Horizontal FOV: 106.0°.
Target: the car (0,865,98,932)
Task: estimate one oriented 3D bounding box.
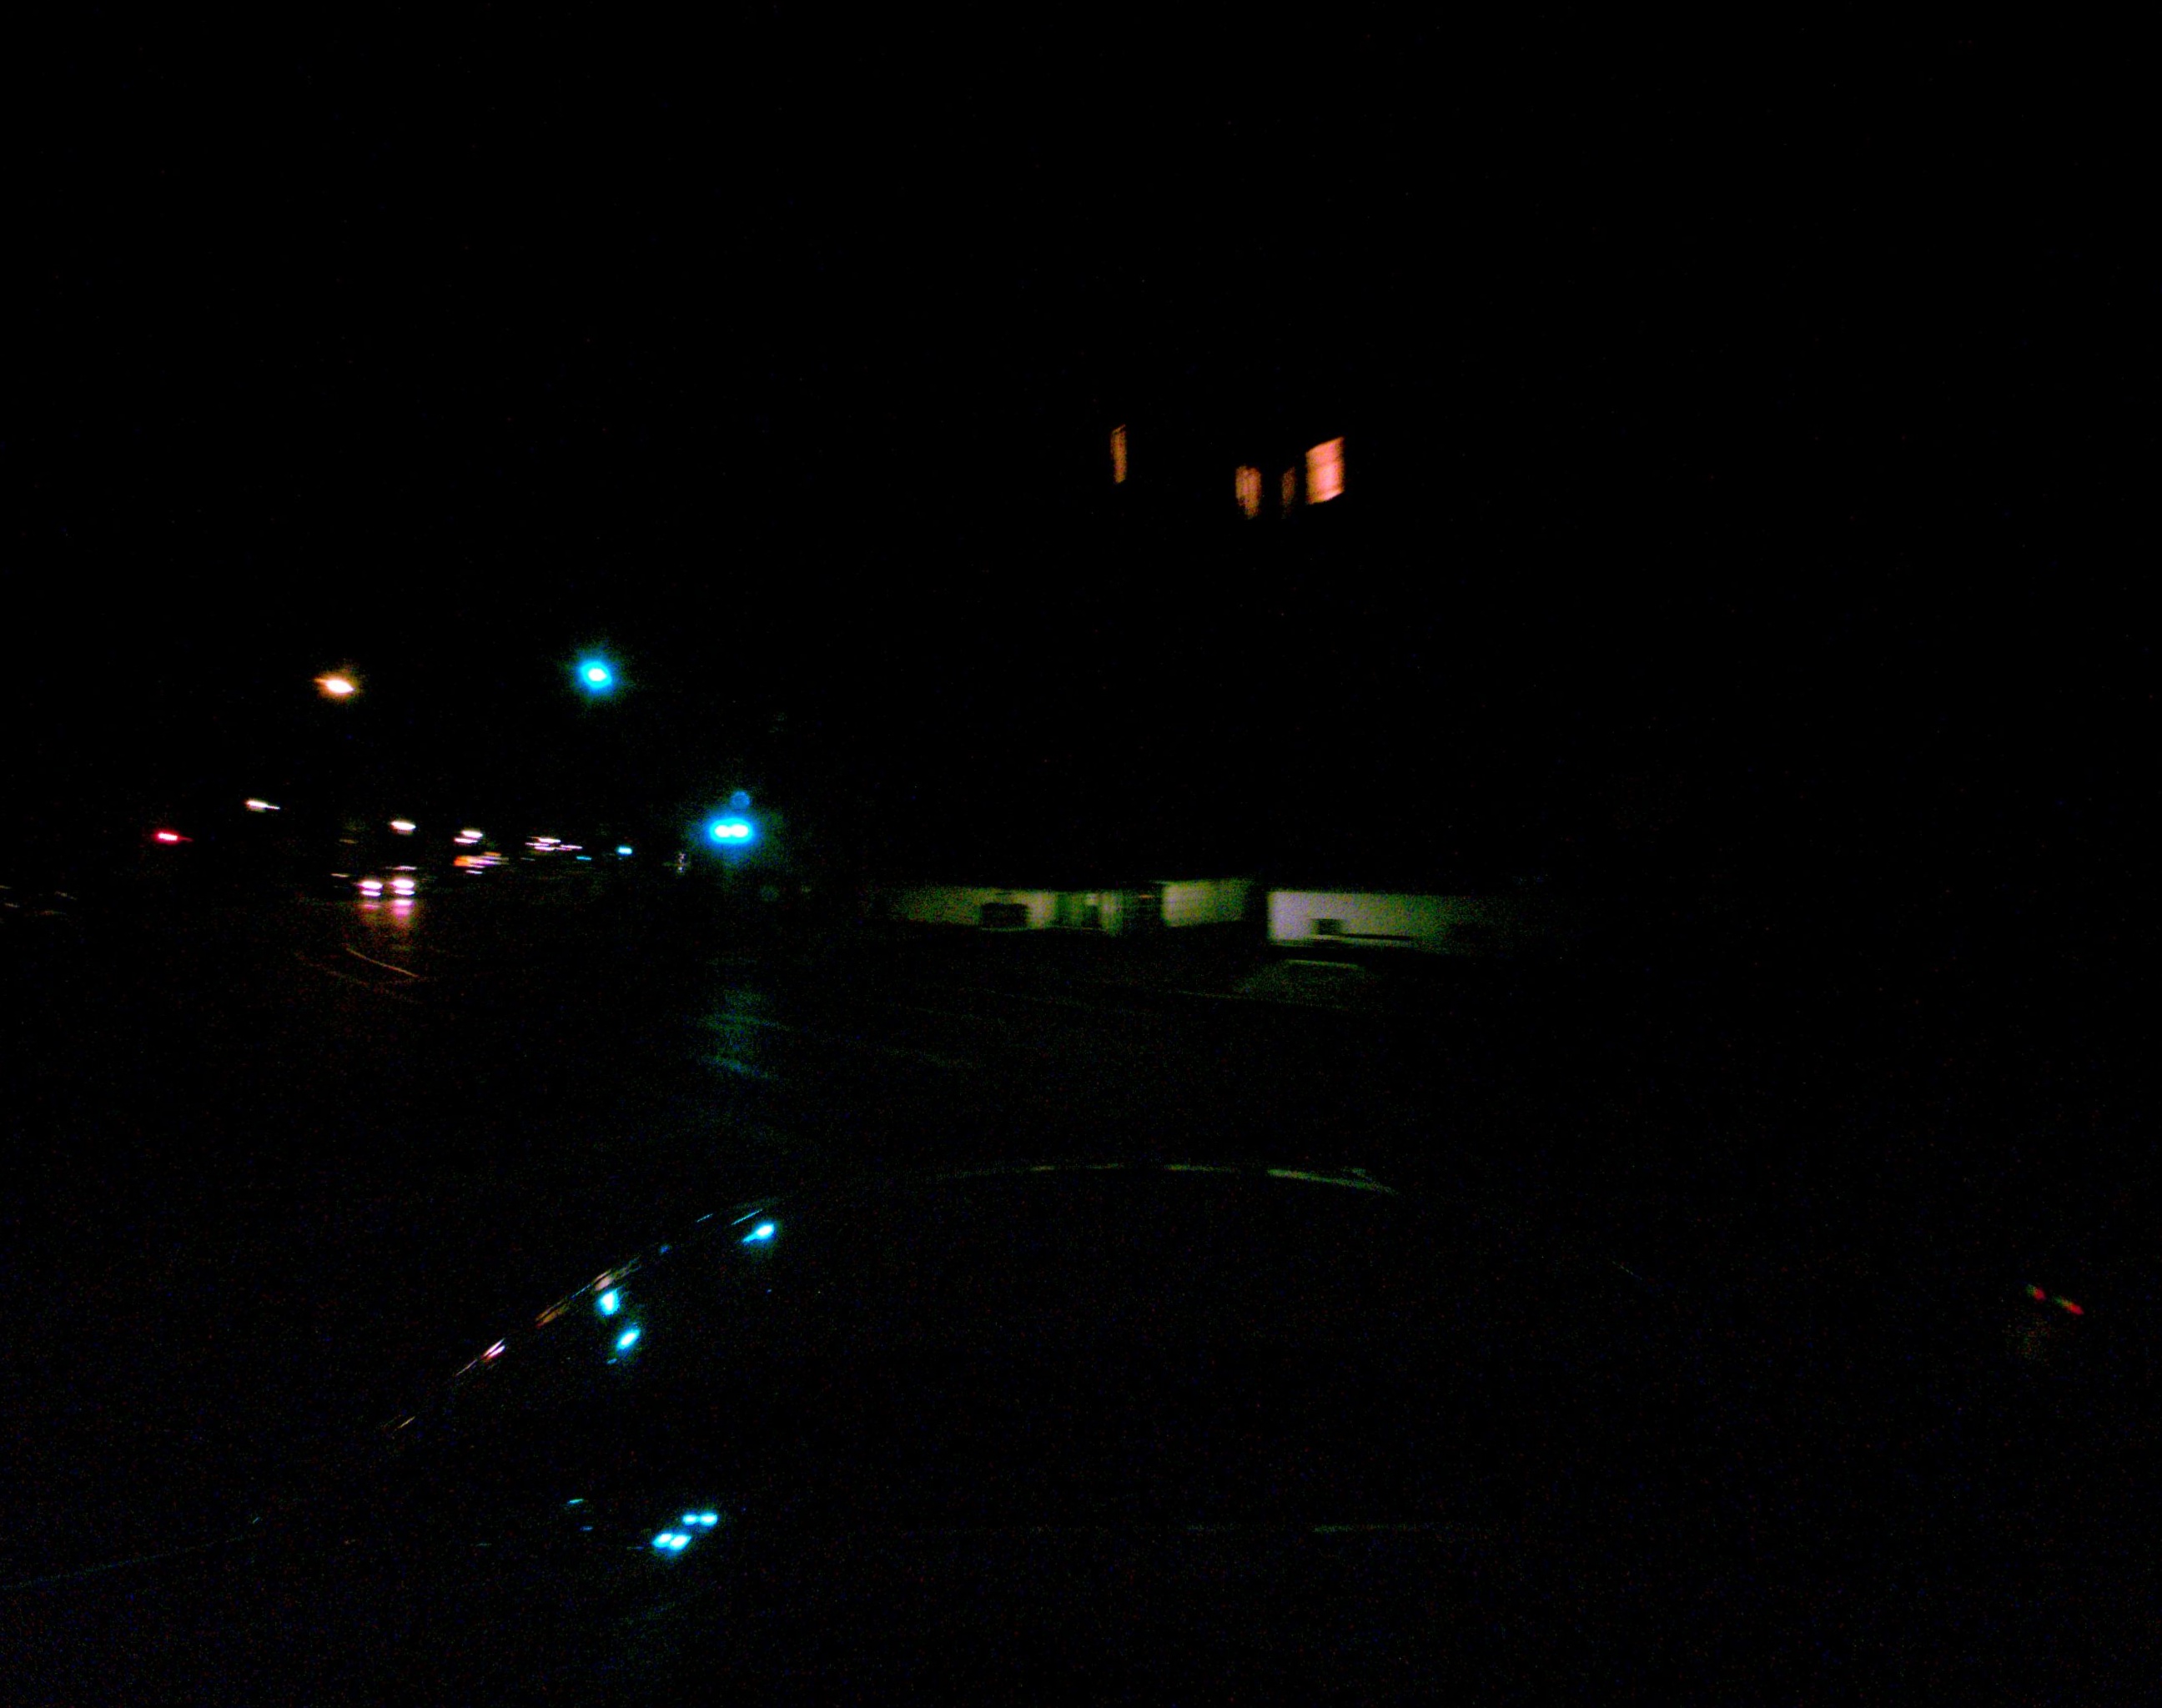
[{"bbox_3d":[-28.066,1.099,20.977,1.895,1.596,3.990,2,-2,-25],"label":"car"}]

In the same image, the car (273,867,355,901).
[{"bbox_3d":[-37.224,1.444,39.644,1.599,1.491,3.671,3,-2,-22],"label":"car"}]

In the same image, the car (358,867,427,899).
[{"bbox_3d":[-34.493,1.409,40.928,1.724,1.429,3.965,-1,0,-27],"label":"car"}]

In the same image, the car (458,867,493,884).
[{"bbox_3d":[-52.681,1.847,70.908,1.795,1.416,4.088,2,-1,-28],"label":"car"}]

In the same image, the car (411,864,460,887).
[{"bbox_3d":[-47.193,1.564,59.622,1.793,1.582,4.374,3,-2,-25],"label":"car"}]

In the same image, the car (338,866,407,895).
[{"bbox_3d":[-40.873,1.504,47.078,1.793,1.491,4.293,3,-2,-25],"label":"car"}]

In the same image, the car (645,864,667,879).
[{"bbox_3d":[-44.480,1.824,85.280,1.745,1.460,4.681,1,-1,-31],"label":"car"}]
